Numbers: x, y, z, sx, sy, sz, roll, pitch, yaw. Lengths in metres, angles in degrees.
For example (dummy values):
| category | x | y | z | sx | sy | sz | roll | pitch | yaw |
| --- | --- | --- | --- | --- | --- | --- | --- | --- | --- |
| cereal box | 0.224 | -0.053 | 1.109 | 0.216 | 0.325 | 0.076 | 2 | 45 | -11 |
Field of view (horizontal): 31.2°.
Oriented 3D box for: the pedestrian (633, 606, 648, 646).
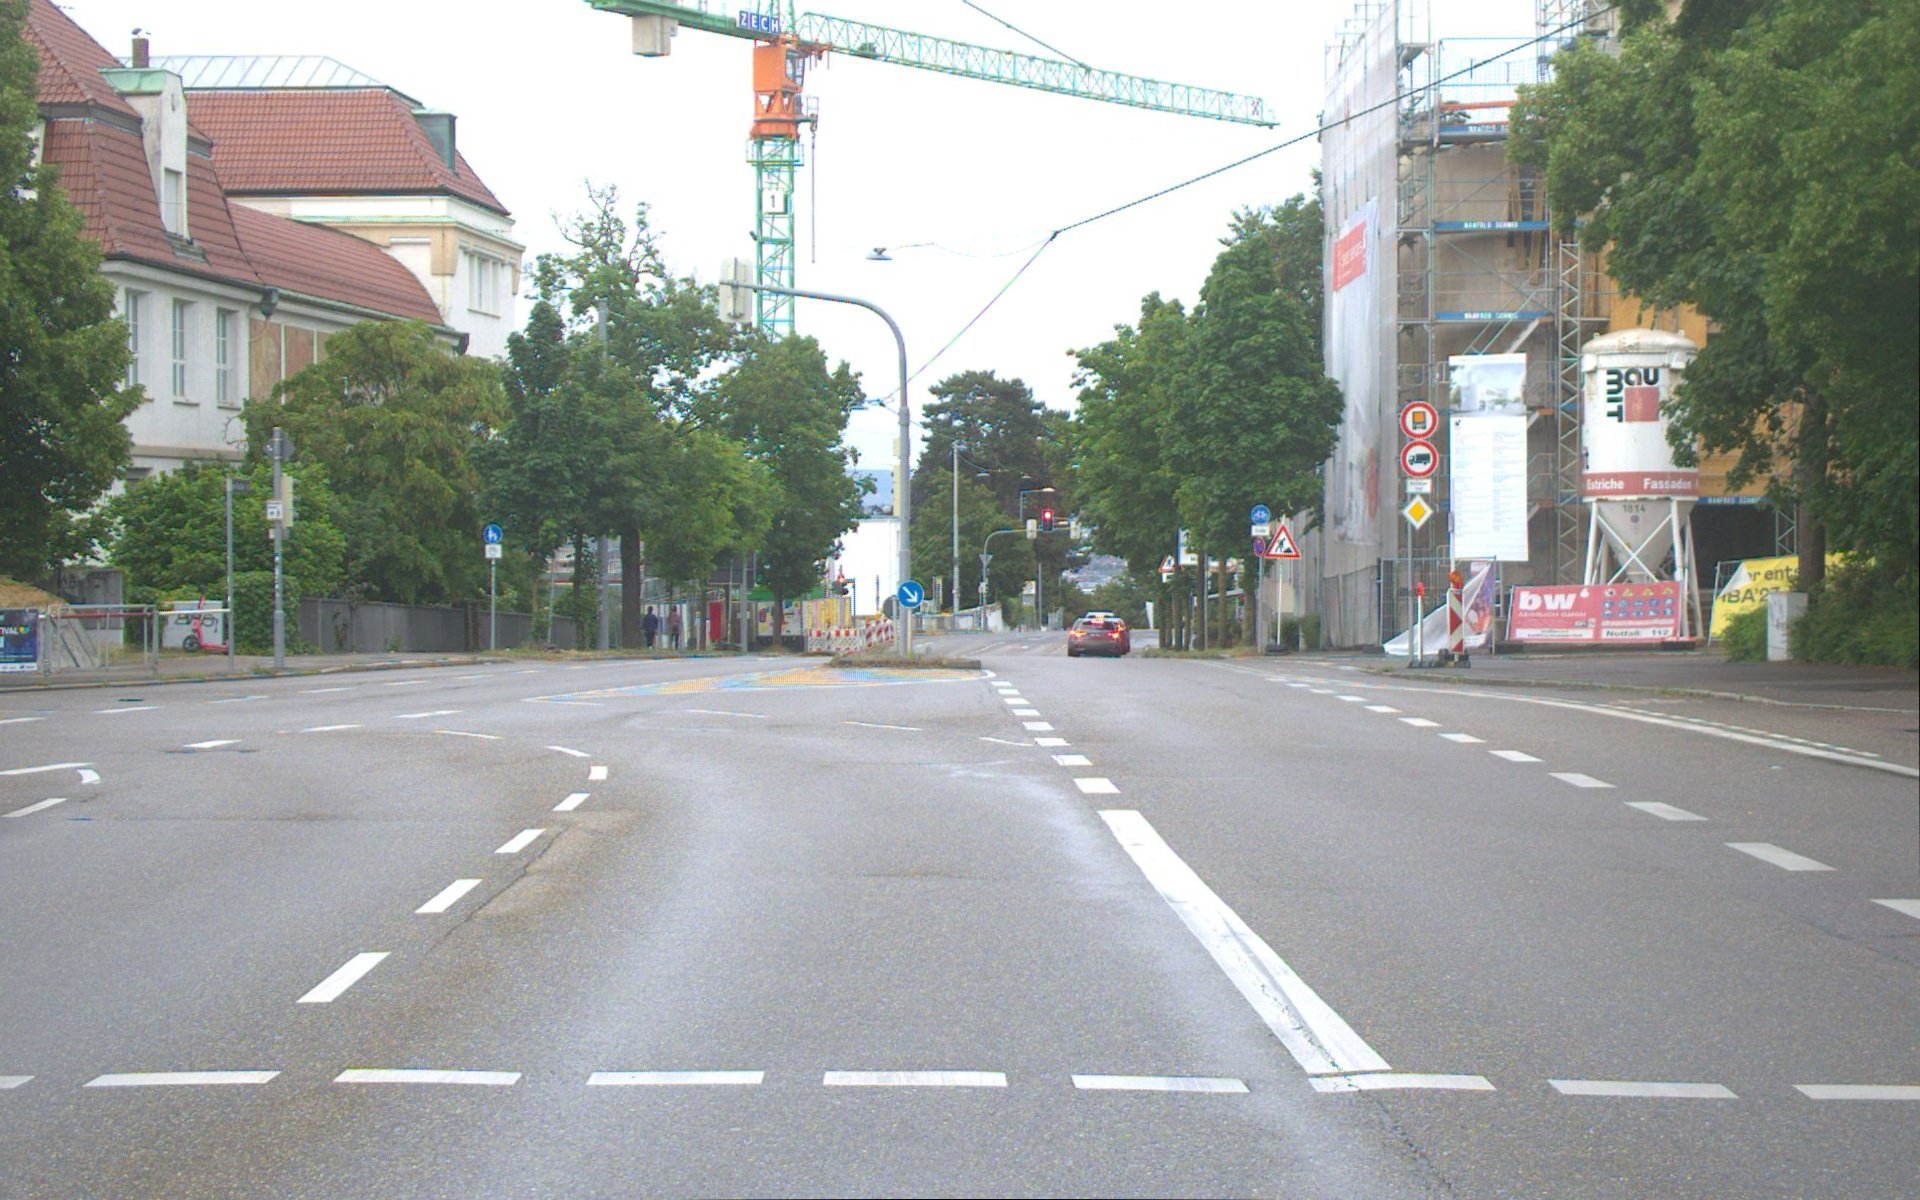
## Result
| category | x | y | z | sx | sy | sz | roll | pitch | yaw |
| --- | --- | --- | --- | --- | --- | --- | --- | --- | --- |
| pedestrian | -11.212 | 0.913 | 120.706 | 0.474 | 1.391 | 0.411 | -1 | 1 | -1 |

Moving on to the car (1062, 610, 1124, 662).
| category | x | y | z | sx | sy | sz | roll | pitch | yaw |
| --- | --- | --- | --- | --- | --- | --- | --- | --- | --- |
| car | 4.810 | 1.293 | 125.030 | 1.993 | 1.744 | 4.000 | -1 | 1 | -1 |

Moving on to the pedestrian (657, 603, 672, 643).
| category | x | y | z | sx | sy | sz | roll | pitch | yaw |
| --- | --- | --- | --- | --- | --- | --- | --- | --- | --- |
| pedestrian | -10.382 | 0.823 | 120.721 | 0.474 | 1.391 | 0.411 | -1 | 1 | -1 |

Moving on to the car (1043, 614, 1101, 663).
| category | x | y | z | sx | sy | sz | roll | pitch | yaw |
| --- | --- | --- | --- | --- | --- | --- | --- | --- | --- |
| car | 4.238 | 1.448 | 130.899 | 1.993 | 1.744 | 4.000 | -1 | 1 | -1 |

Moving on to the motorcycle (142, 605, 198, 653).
| category | x | y | z | sx | sy | sz | roll | pitch | yaw |
| --- | --- | --- | --- | --- | --- | --- | --- | --- | --- |
| motorcycle | -14.822 | 0.547 | 64.485 | 0.849 | 0.874 | 0.877 | 1 | 0 | -1 |

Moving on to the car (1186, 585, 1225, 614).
| category | x | y | z | sx | sy | sz | roll | pitch | yaw |
| --- | --- | --- | --- | --- | --- | --- | --- | --- | --- |
| car | 15.665 | -0.030 | 219.332 | 1.994 | 1.744 | 3.998 | -1 | 1 | 11 |
